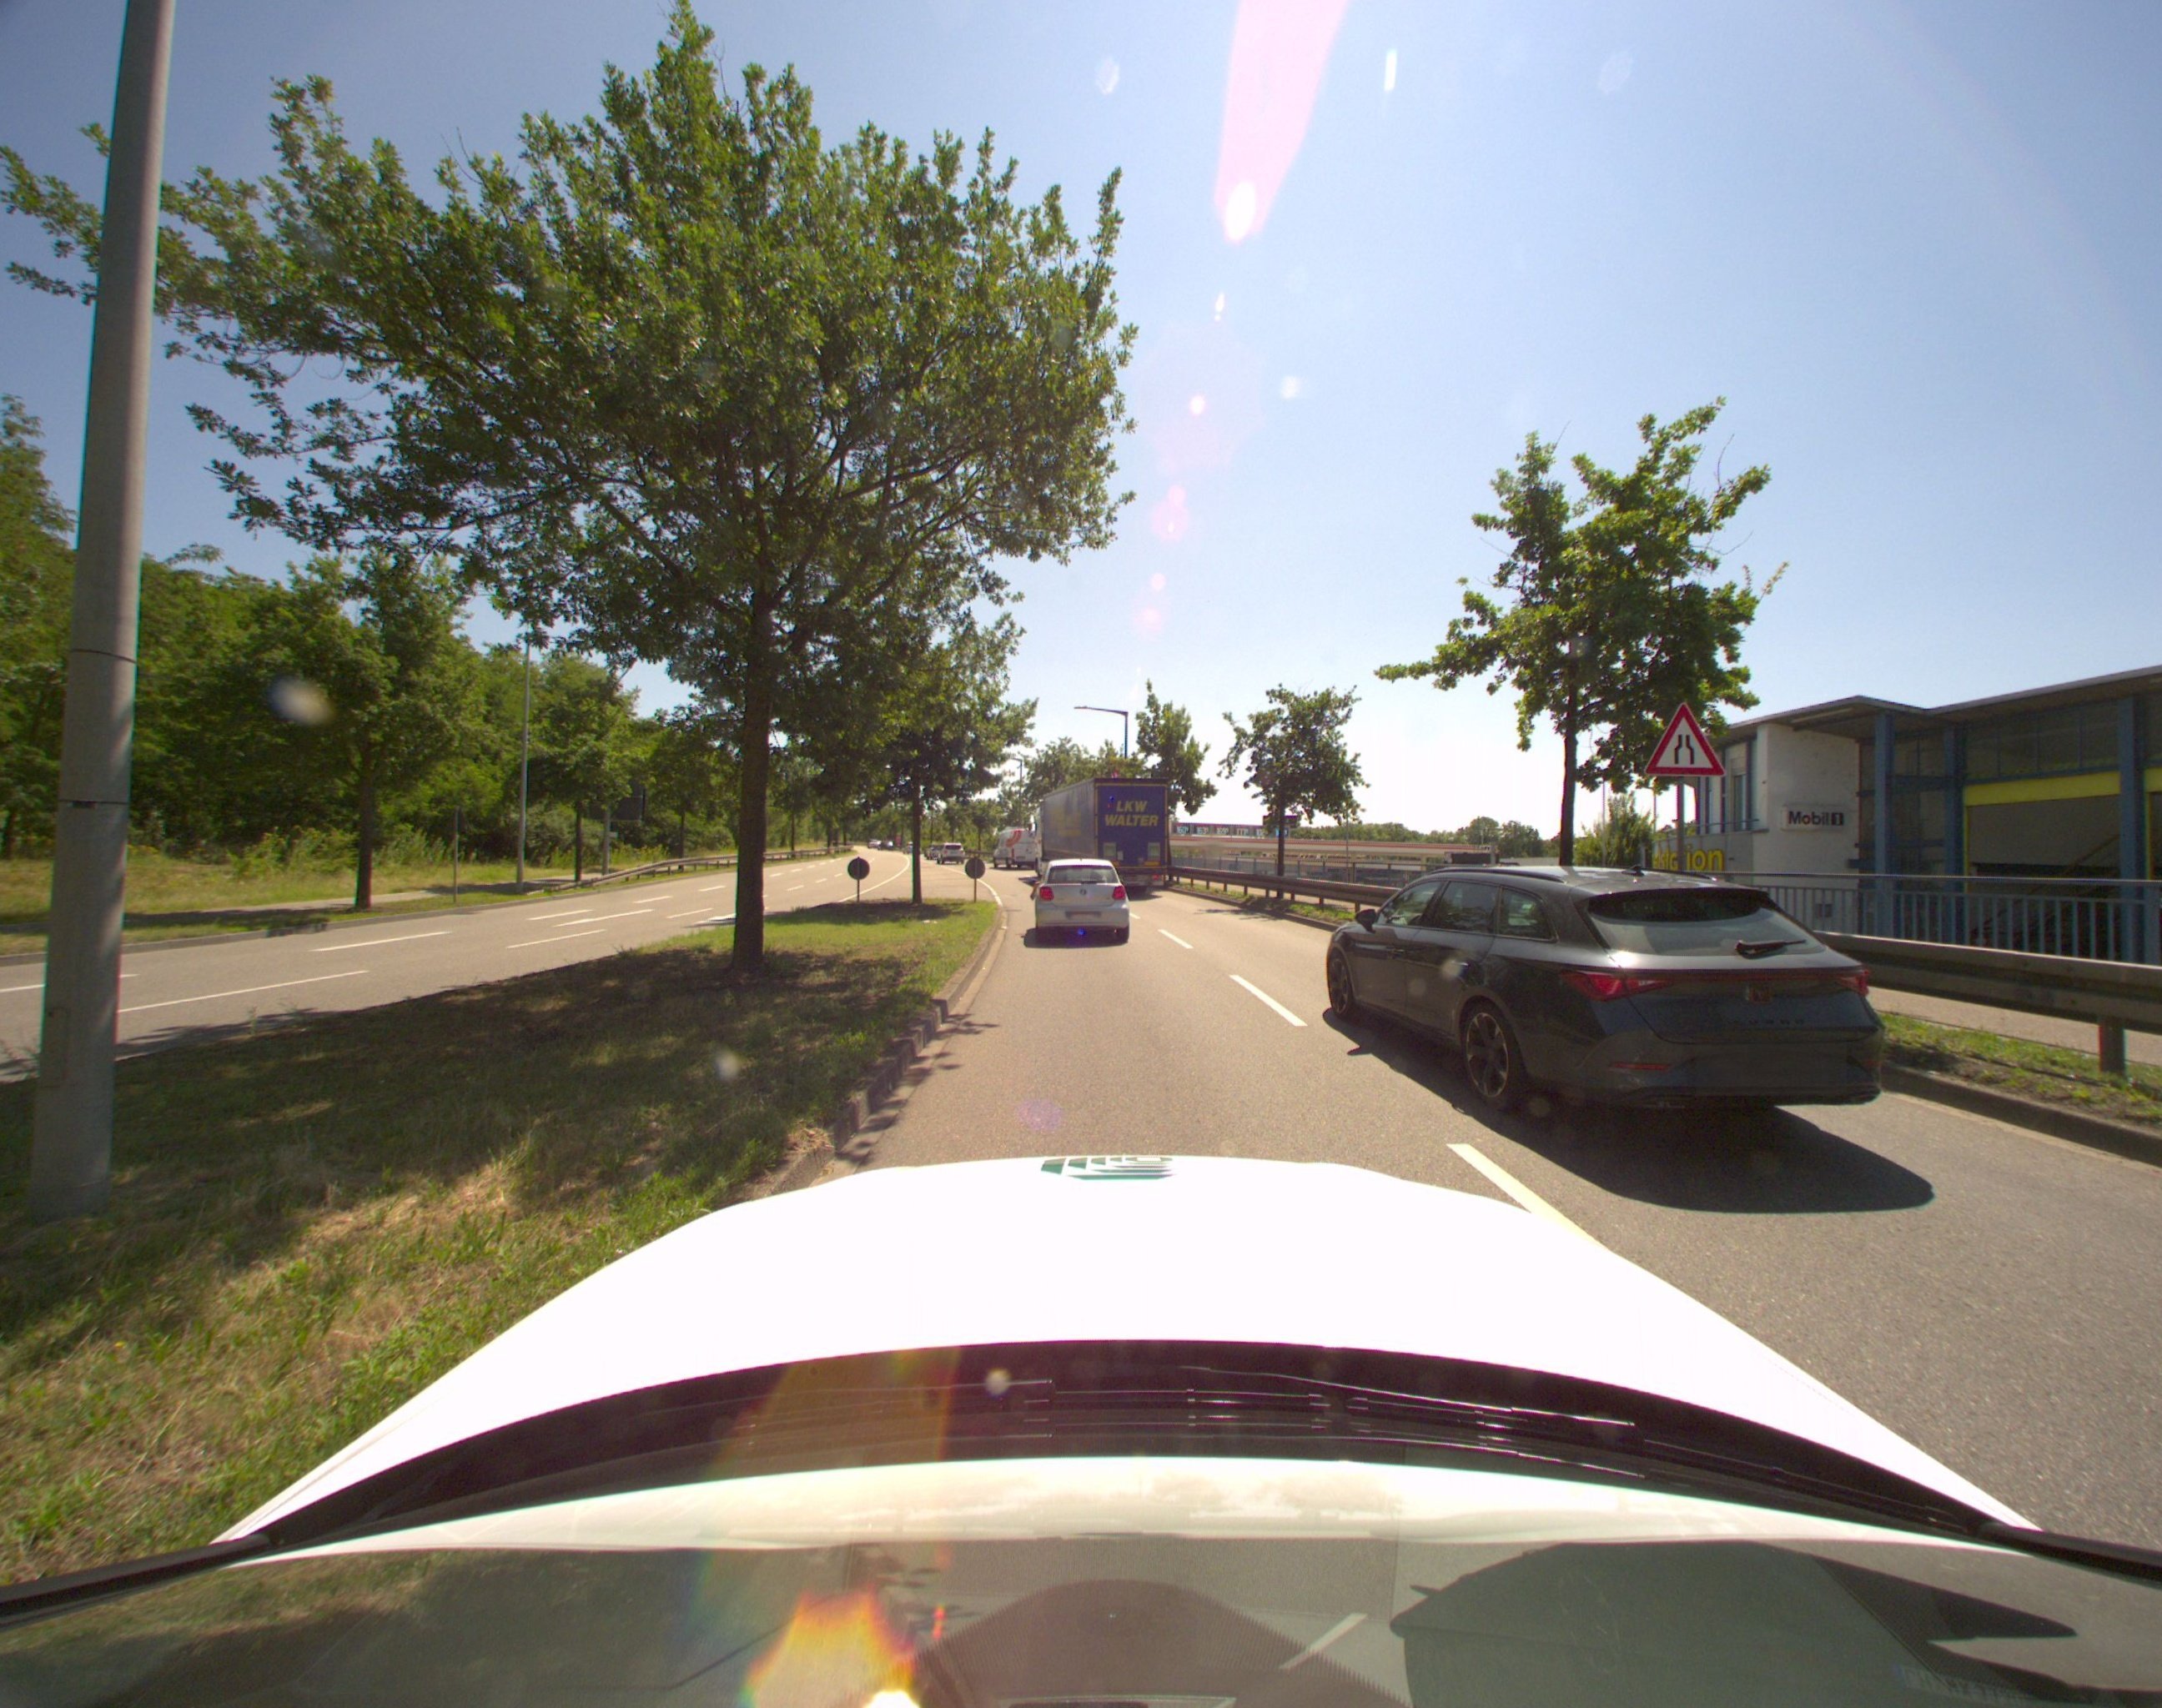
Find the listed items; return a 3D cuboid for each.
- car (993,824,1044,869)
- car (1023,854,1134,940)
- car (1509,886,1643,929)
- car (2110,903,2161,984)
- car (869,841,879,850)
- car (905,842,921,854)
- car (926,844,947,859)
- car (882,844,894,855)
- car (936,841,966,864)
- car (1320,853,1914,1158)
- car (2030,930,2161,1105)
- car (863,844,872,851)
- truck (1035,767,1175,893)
[{"bbox_3d":[-4.371,-0.499,55.687,2.180,2.900,6.323,1,1,-16],"label":"car"},{"bbox_3d":[-0.159,0.760,15.501,1.645,1.439,3.526,1,-1,-8],"label":"car"},{"bbox_3d":[20.164,2.152,33.237,4.583,1.660,1.594,0,-1,-3],"label":"car"},{"bbox_3d":[24.775,1.940,17.470,3.662,1.684,1.647,0,-1,-6],"label":"car"},{"bbox_3d":[-33.561,-1.406,132.212,1.458,1.314,3.621,1,-1,-13],"label":"car"},{"bbox_3d":[-20.463,-0.728,98.981,1.612,1.360,3.641,1,0,-17],"label":"car"},{"bbox_3d":[-13.738,-0.218,77.251,1.498,1.360,3.641,1,0,-17],"label":"car"},{"bbox_3d":[-27.959,-0.670,118.149,1.667,1.465,3.564,1,-1,-13],"label":"car"},{"bbox_3d":[-10.409,-0.073,65.125,1.907,1.718,4.200,1,-1,-16],"label":"car"},{"bbox_3d":[3.201,0.767,6.033,1.600,1.456,4.233,0,-1,0],"label":"car"},{"bbox_3d":[10.771,1.539,6.605,1.627,1.532,3.899,0,-1,1],"label":"car"},{"bbox_3d":[-38.577,-1.149,147.125,1.419,1.314,3.322,1,-1,-13],"label":"car"},{"bbox_3d":[0.382,-0.742,35.472,2.833,4.198,16.416,1,0,-10],"label":"truck"}]
